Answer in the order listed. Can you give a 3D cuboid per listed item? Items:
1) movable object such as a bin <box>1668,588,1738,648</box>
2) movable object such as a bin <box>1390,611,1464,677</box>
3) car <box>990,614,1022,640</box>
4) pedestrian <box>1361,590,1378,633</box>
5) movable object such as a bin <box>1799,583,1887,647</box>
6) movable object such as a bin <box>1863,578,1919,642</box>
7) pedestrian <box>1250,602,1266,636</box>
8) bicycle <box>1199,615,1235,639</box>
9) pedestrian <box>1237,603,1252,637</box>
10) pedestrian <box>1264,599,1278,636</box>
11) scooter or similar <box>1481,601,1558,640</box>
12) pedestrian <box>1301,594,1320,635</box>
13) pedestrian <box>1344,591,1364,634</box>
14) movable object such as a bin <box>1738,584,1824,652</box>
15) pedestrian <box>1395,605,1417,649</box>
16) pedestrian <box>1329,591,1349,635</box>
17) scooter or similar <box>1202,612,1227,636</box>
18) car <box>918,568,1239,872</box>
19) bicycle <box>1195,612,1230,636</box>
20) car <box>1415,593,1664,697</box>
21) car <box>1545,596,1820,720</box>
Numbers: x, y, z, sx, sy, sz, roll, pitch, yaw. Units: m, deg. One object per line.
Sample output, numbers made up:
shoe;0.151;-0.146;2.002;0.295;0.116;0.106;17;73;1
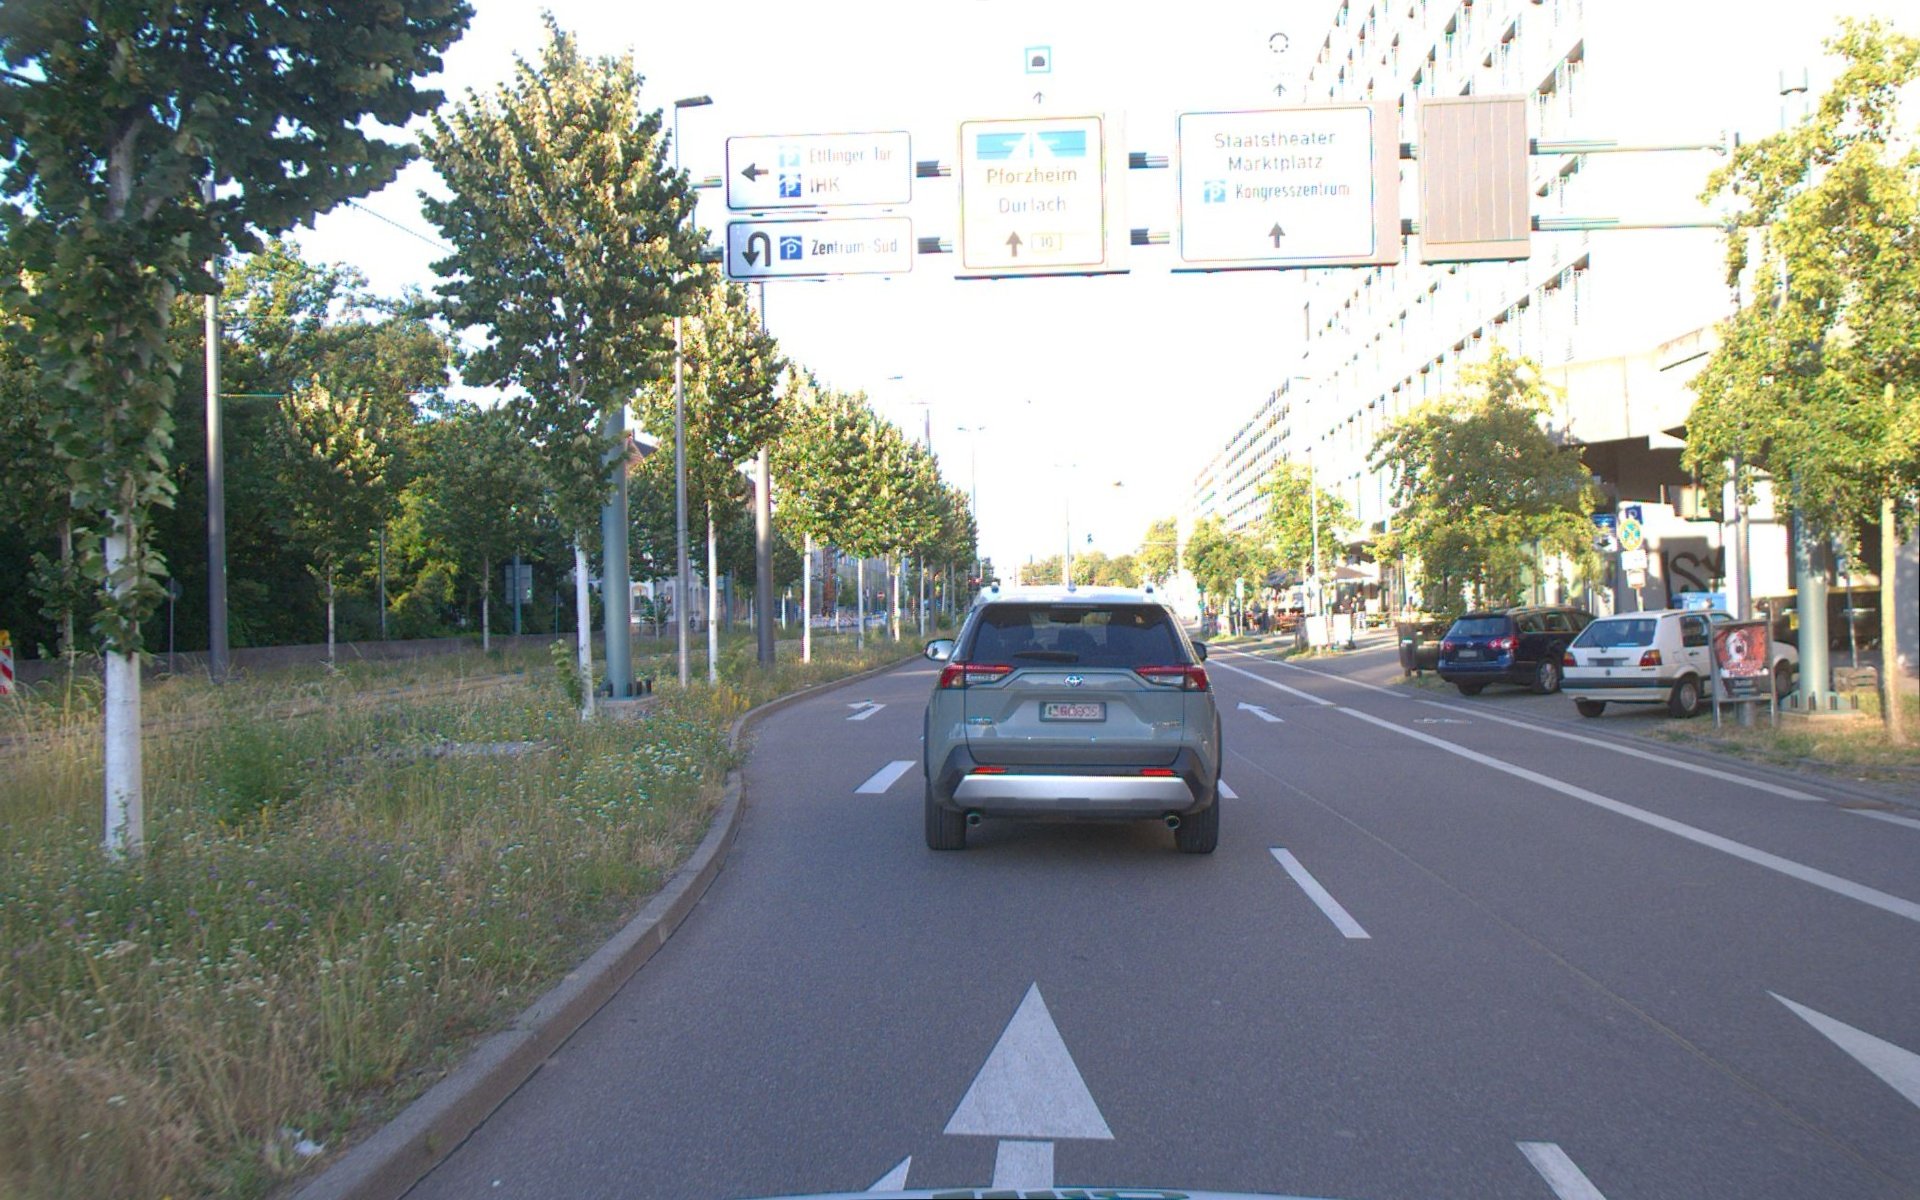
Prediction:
movable object such as a bin;17.793;0.431;39.632;1.082;1.353;1.283;-3;0;3
movable object such as a bin;9.890;0.919;35.060;1.063;1.324;1.360;-3;0;-3
car;2.586;1.480;91.661;1.639;1.376;4.002;0;0;4
pedestrian;18.210;0.504;73.567;0.606;1.843;0.777;-4;-1;13
movable object such as a bin;18.855;0.315;35.351;1.157;1.321;1.305;-2;0;2
movable object such as a bin;20.175;0.207;35.307;1.157;1.336;1.125;-2;0;2
pedestrian;15.745;0.993;87.372;0.671;1.765;0.761;-4;-1;3
bicycle;13.841;1.461;89.241;1.808;1.202;0.608;-4;-1;3
pedestrian;15.008;1.062;87.275;0.640;1.732;0.689;-3;-1;3
pedestrian;15.214;0.859;80.928;0.564;1.817;0.829;-3;-2;11
scooter or similar;18.841;0.681;55.697;2.323;1.203;0.621;-3;-1;3
pedestrian;16.868;0.694;79.640;0.807;1.921;0.867;-3;-2;12
pedestrian;17.521;0.536;73.576;0.740;1.856;0.941;-3;-1;13
movable object such as a bin;17.509;0.372;35.316;1.157;1.346;1.267;-4;0;2
pedestrian;16.932;1.011;62.823;0.564;1.647;0.643;-3;0;0
pedestrian;16.882;0.573;73.762;0.728;1.881;0.941;-4;-1;13
scooter or similar;13.923;1.324;90.512;1.185;1.222;0.480;-3;0;-2
car;0.784;0.679;11.446;1.795;1.702;4.284;0;0;3
bicycle;13.903;1.332;91.054;1.757;1.214;0.567;-4;-1;-1
car;10.507;0.795;29.861;4.619;1.534;1.914;-3;-1;-36
car;10.293;0.793;23.493;3.945;1.441;1.730;-3;-1;-35
